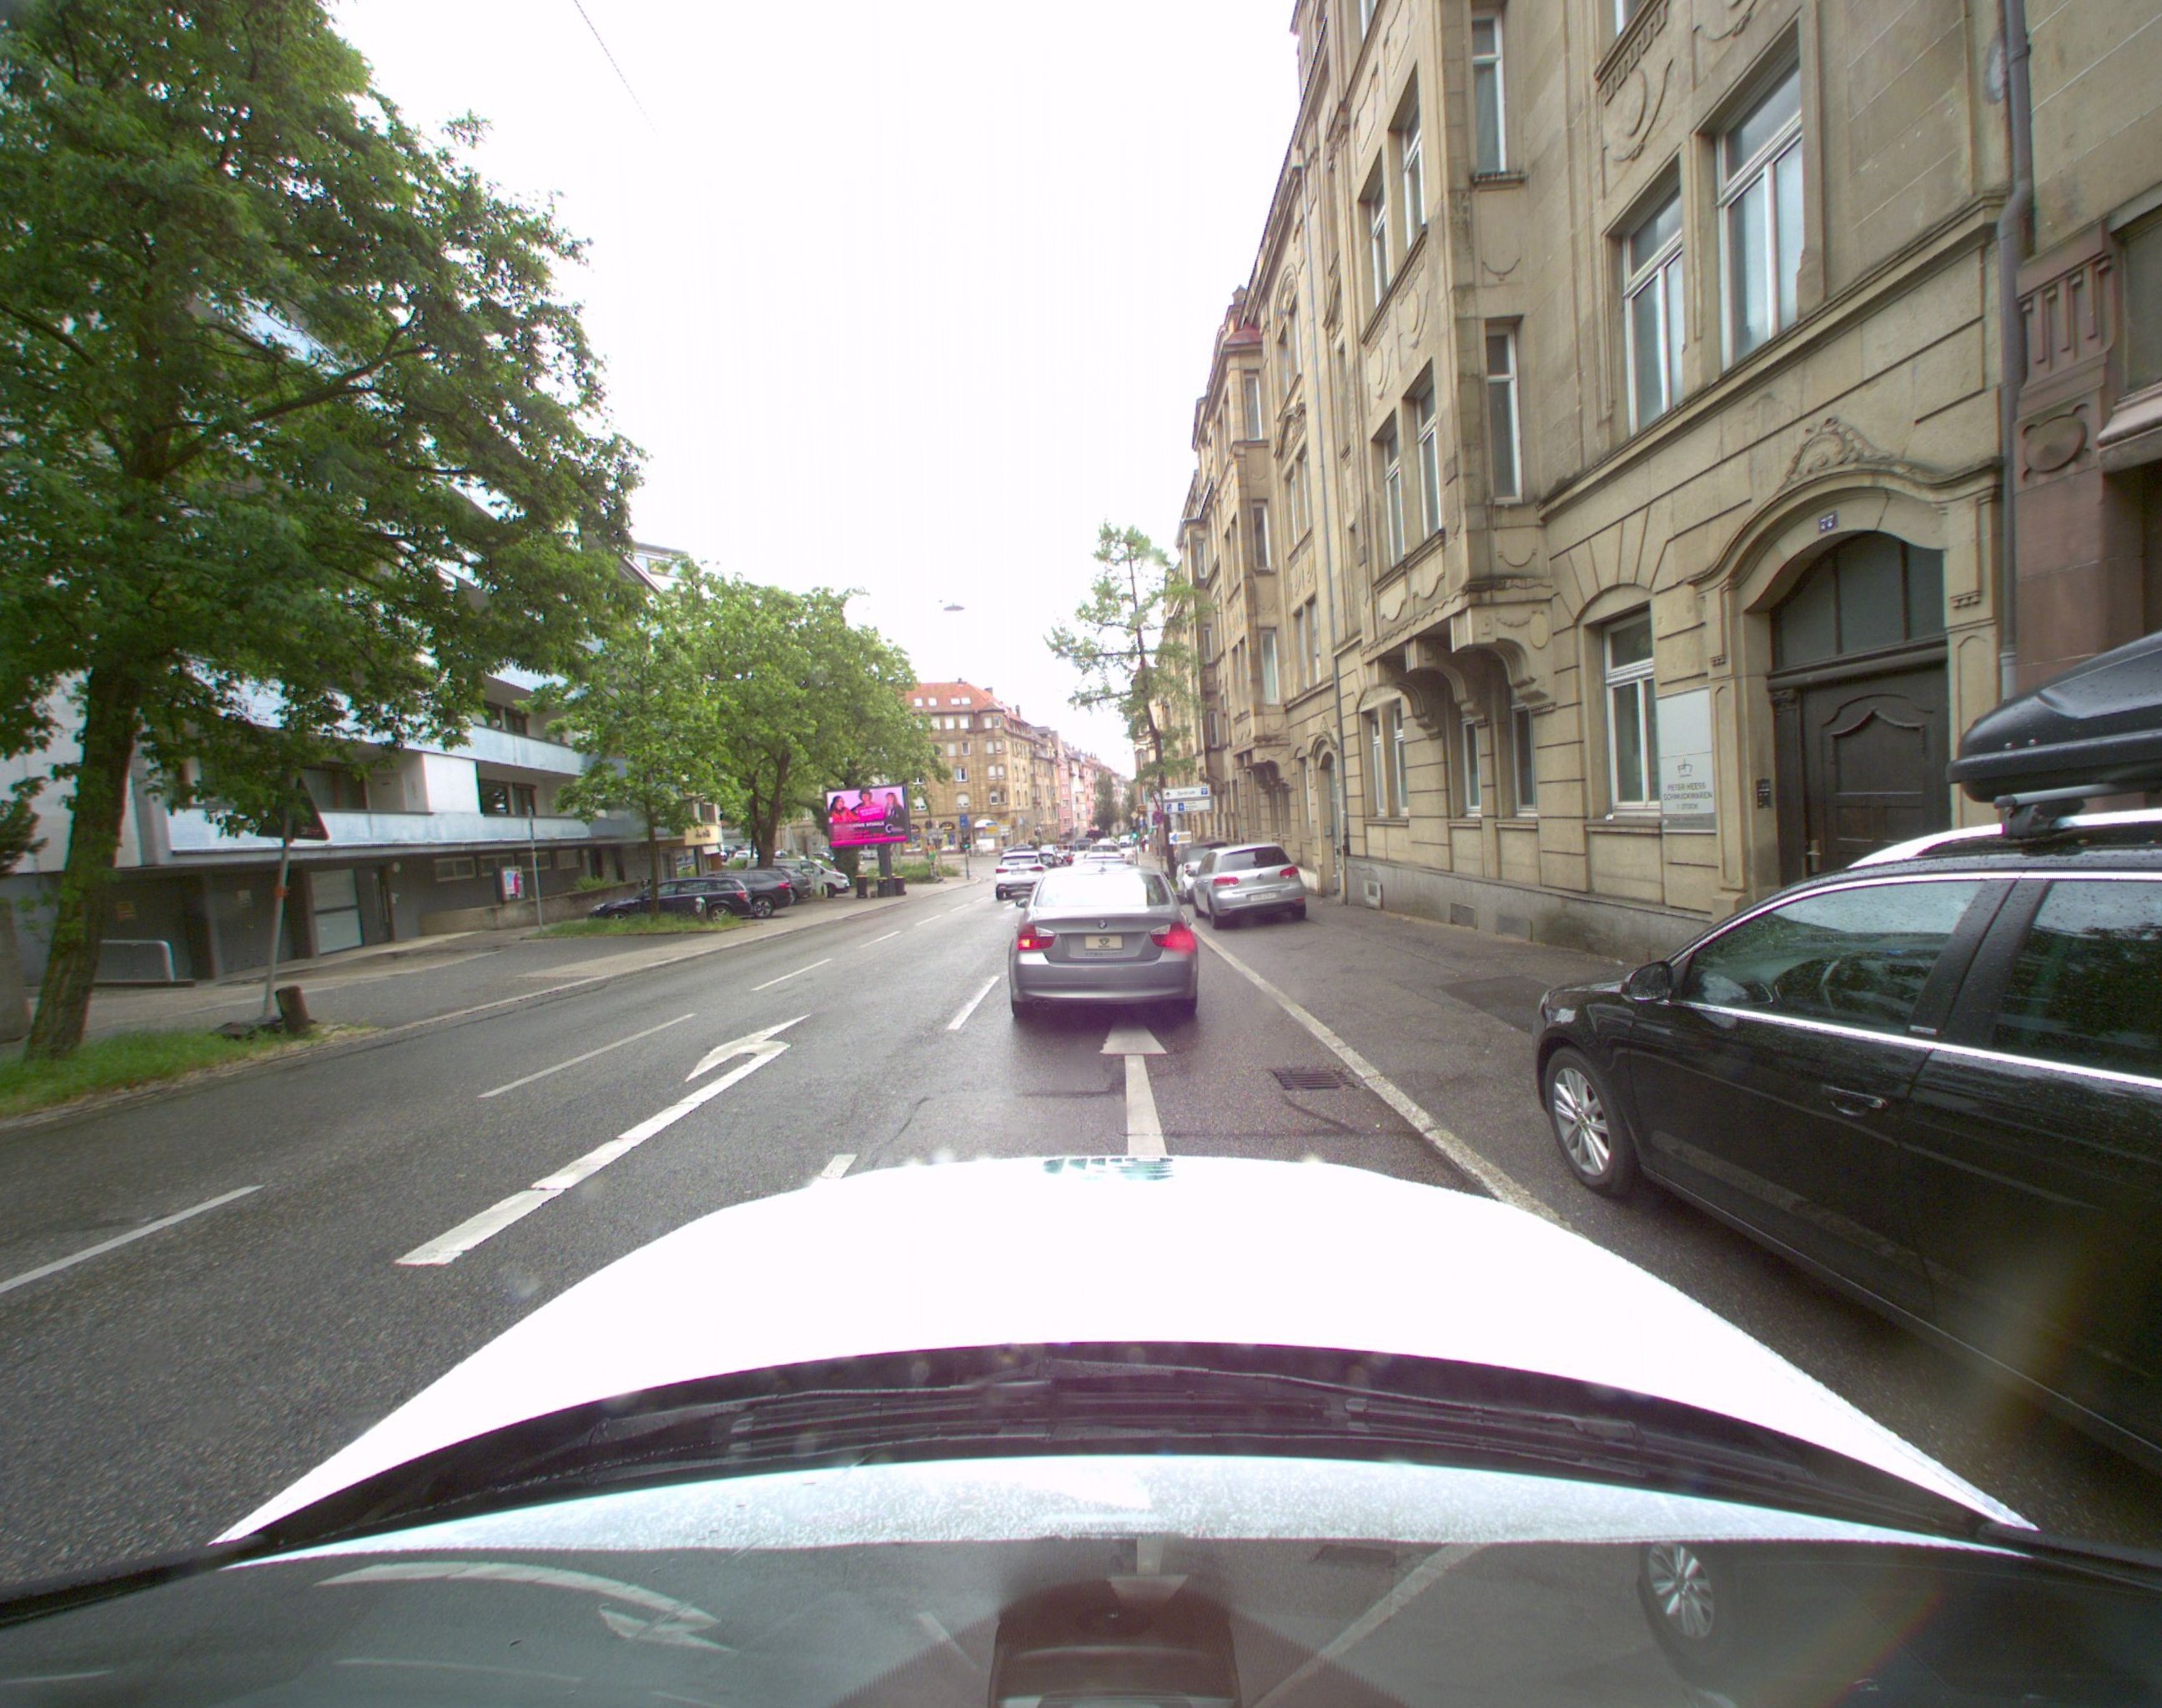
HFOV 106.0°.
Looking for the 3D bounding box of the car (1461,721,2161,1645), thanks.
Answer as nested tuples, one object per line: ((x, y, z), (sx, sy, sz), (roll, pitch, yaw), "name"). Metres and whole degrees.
((2.750, 0.503, 1.930), (1.753, 1.651, 4.101), (-7, 0, 2), "car")

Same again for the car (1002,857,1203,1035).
((0.268, 0.773, 8.541), (1.617, 1.383, 3.618), (-2, 0, 3), "car")

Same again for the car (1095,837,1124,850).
((3.709, -1.346, 105.215), (1.974, 1.578, 4.025), (-1, -1, 34), "car")

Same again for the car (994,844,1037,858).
((-7.677, -0.369, 96.068), (4.674, 1.578, 1.978), (0, -1, -35), "car")

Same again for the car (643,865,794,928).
((-12.008, 1.378, 27.300), (4.382, 1.672, 1.842), (-4, 0, -21), "car")

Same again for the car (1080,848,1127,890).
((0.918, 0.553, 33.007), (1.753, 1.567, 4.002), (-2, 0, 2), "car")

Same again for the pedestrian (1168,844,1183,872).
((5.326, 0.222, 45.989), (0.629, 1.508, 0.693), (-7, 0, 1), "pedestrian")

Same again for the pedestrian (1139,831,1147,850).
((6.424, -1.361, 84.314), (0.740, 1.910, 0.659), (-3, 0, 1), "pedestrian")

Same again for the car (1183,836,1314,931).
((3.194, 0.513, 16.329), (1.753, 1.451, 4.001), (-7, 0, 1), "car")

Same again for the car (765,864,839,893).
((-16.245, 1.416, 47.524), (3.985, 1.450, 1.758), (-3, 0, -19), "car")

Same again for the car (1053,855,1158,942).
((0.520, 0.763, 15.909), (1.752, 1.383, 4.003), (-2, 0, 3), "car")

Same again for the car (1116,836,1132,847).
((6.388, -1.867, 120.513), (1.983, 1.578, 4.008), (0, -1, 7), "car")

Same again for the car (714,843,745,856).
((-47.040, -0.561, 109.058), (3.949, 1.689, 1.738), (-1, -1, 29), "car")

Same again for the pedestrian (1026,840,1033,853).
((-6.388, -0.894, 101.395), (0.727, 1.577, 0.530), (-3, 0, 10), "pedestrian")

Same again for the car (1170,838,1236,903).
((3.341, 0.418, 22.712), (1.295, 1.543, 2.977), (-7, 0, 1), "car")

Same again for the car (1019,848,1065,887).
((-1.830, 0.611, 39.297), (1.752, 1.707, 4.003), (-2, 0, 3), "car")

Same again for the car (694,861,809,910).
((-13.933, 1.291, 34.700), (4.370, 1.784, 1.927), (-3, 0, -19), "car")

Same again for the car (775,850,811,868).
((-36.574, 0.627, 103.426), (4.238, 2.101, 2.013), (0, 2, 30), "car")

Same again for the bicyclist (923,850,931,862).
((-16.625, 0.206, 87.946), (0.565, 1.273, 0.692), (-1, -1, 14), "bicyclist")

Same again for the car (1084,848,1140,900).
((0.990, 0.566, 25.430), (1.588, 1.464, 4.003), (0, 0, 3), "car")

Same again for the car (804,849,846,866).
((-27.434, 0.361, 87.374), (4.194, 1.726, 2.013), (-1, 2, 32), "car")

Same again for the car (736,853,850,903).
((-14.062, 1.154, 40.009), (5.076, 2.105, 1.979), (-3, 0, -19), "car")

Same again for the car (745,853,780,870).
((-41.439, 0.943, 105.989), (4.238, 2.101, 2.013), (0, 2, 30), "car")

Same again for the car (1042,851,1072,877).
((-1.707, 0.687, 58.745), (1.752, 1.707, 4.003), (-2, 0, 3), "car")

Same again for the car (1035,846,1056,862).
((-3.469, 0.008, 80.640), (1.709, 1.450, 3.743), (-3, 0, 1), "car")

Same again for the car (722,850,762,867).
((-39.329, 0.504, 94.413), (4.195, 1.726, 2.013), (-2, 3, 31), "car")

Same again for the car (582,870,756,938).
((-12.244, 1.437, 24.562), (4.373, 1.574, 1.930), (-4, 0, -21), "car")

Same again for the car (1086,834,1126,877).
((1.324, 0.086, 43.039), (1.986, 2.106, 4.002), (-2, 0, 2), "car")

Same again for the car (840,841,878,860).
((-26.558, -0.445, 97.444), (4.238, 2.101, 2.013), (0, 2, 30), "car")

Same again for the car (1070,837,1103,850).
((0.850, -1.664, 130.126), (5.158, 2.014, 2.699), (0, -1, 1), "car")

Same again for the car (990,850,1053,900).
((-2.090, 0.702, 29.806), (1.861, 1.625, 4.001), (-2, 0, 1), "car")
